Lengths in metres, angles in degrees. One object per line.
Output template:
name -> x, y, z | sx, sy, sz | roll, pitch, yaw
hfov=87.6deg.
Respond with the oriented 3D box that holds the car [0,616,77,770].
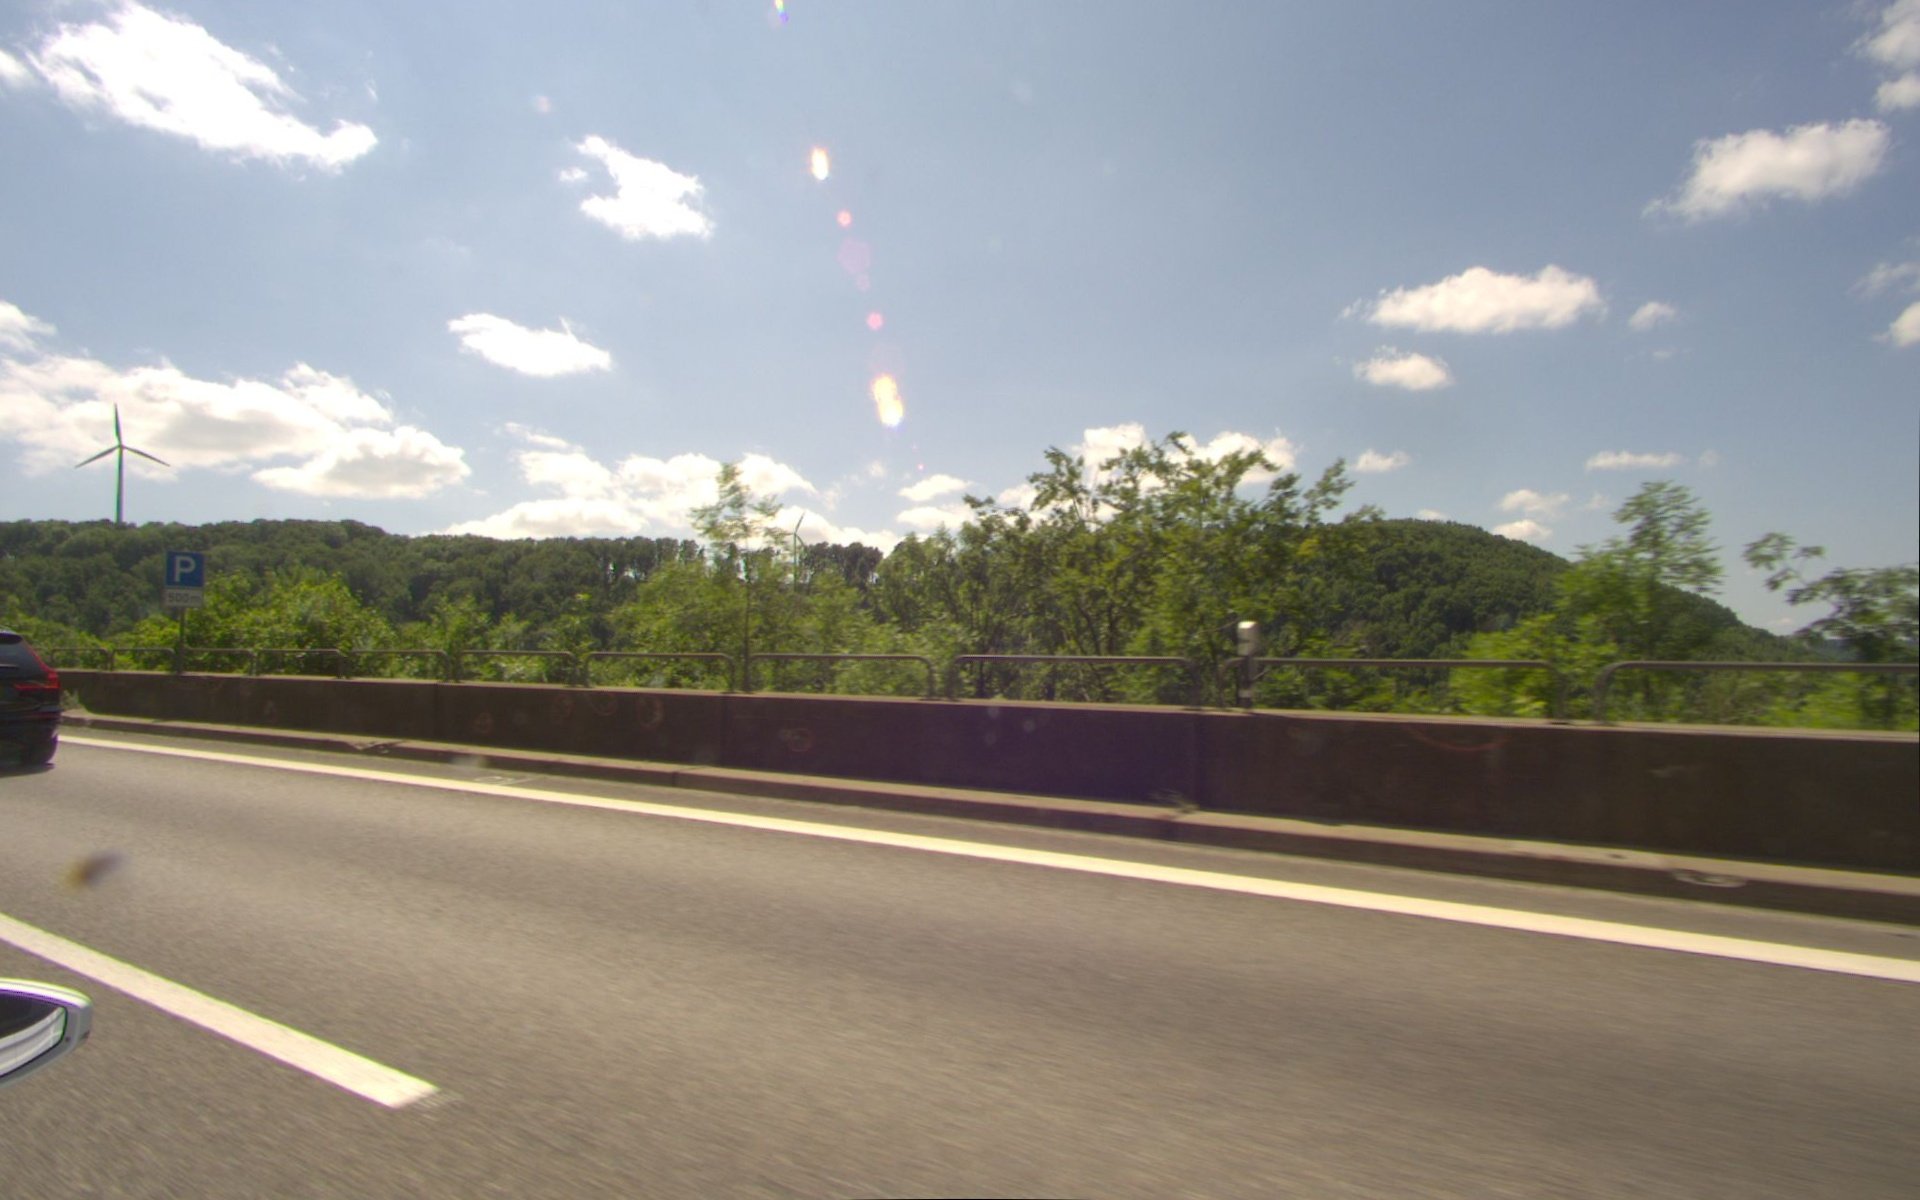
car -> -12.387, 1.049, 11.686 | 4.594, 1.654, 1.832 | -2, -2, 31
